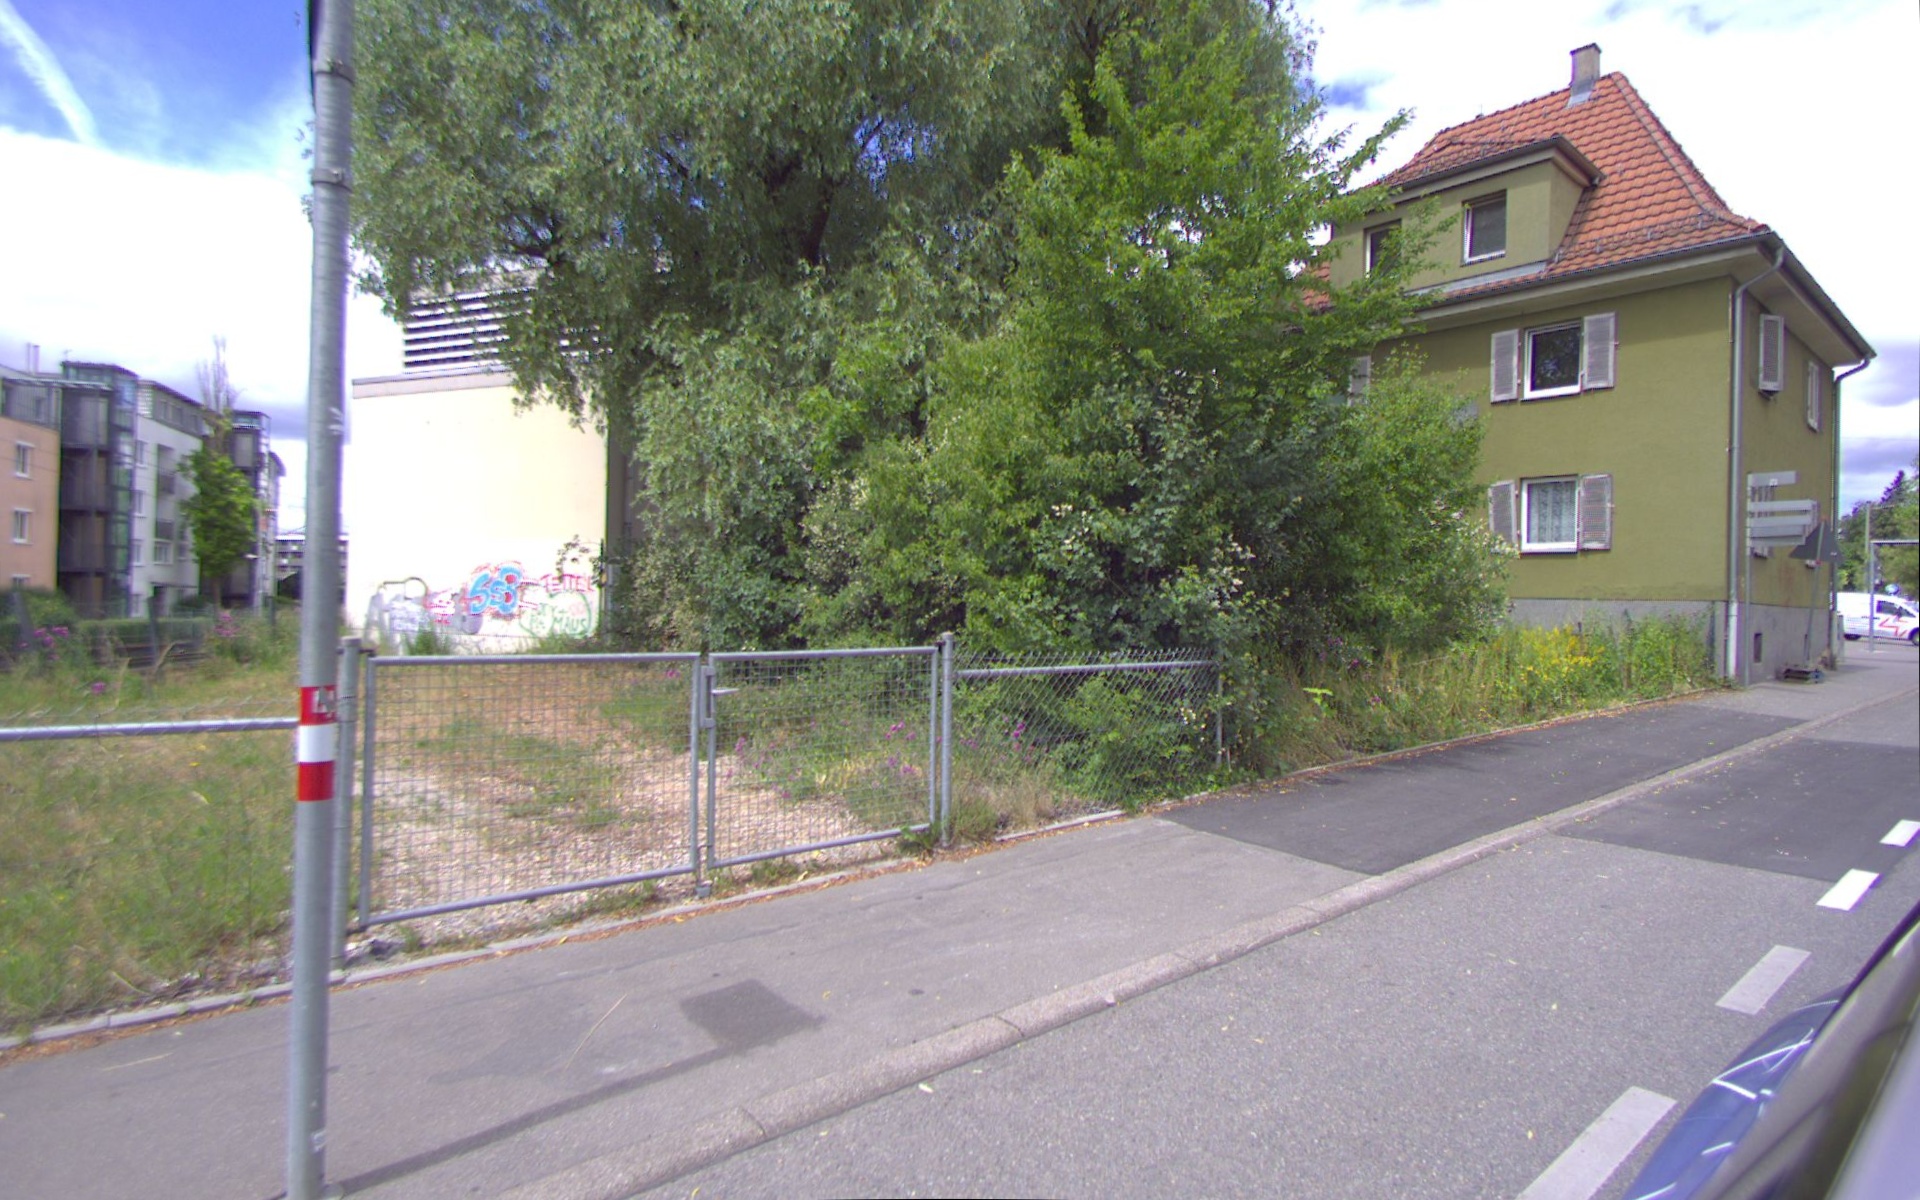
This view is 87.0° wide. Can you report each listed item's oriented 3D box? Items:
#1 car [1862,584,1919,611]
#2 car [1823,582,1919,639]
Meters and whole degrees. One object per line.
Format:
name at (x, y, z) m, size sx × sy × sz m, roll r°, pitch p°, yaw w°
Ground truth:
car at (66.983, -0.193, 71.701) m, size 1.763 × 1.820 × 4.511 m, roll 1°, pitch 2°, yaw -8°
car at (35.311, 0.390, 37.712) m, size 1.959 × 2.019 × 4.378 m, roll 0°, pitch 1°, yaw -27°
